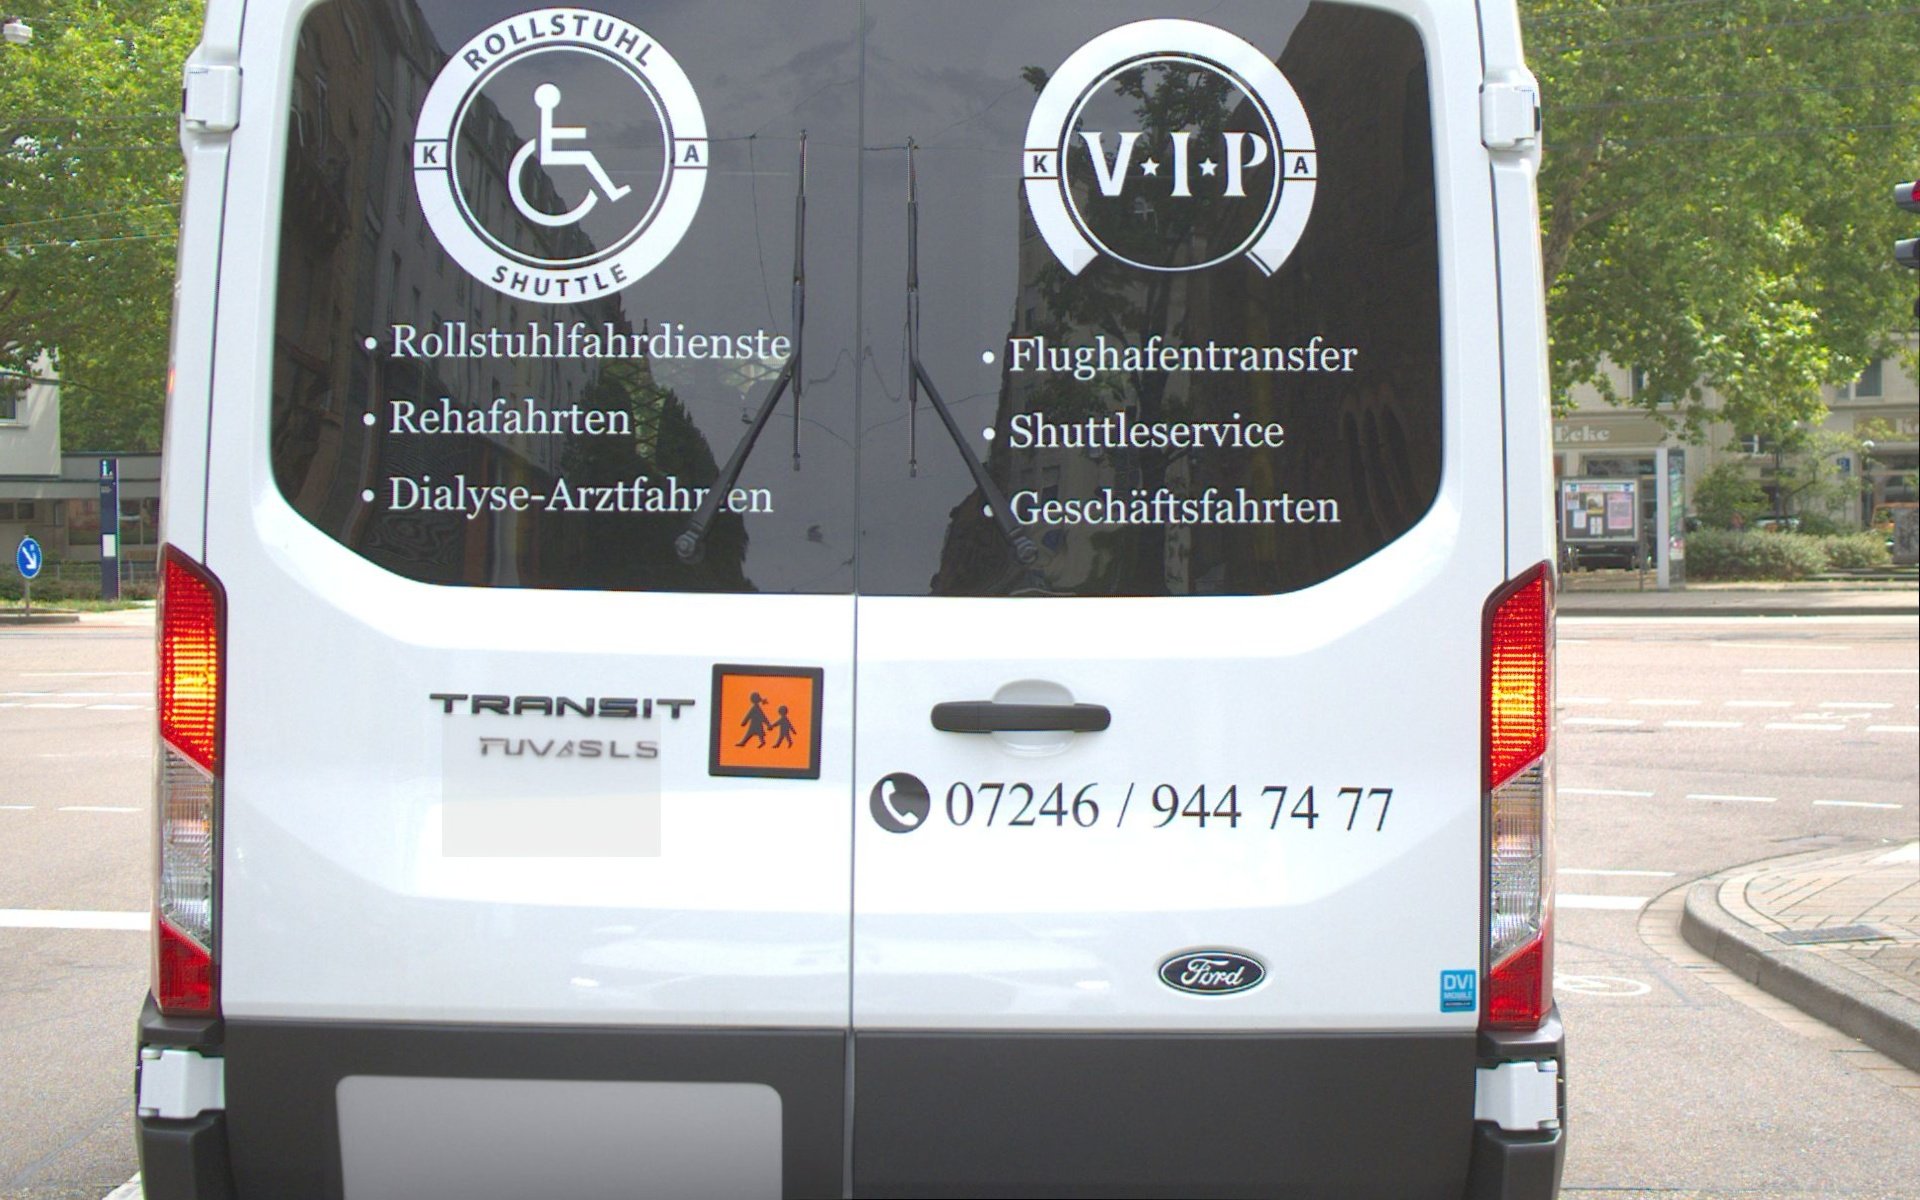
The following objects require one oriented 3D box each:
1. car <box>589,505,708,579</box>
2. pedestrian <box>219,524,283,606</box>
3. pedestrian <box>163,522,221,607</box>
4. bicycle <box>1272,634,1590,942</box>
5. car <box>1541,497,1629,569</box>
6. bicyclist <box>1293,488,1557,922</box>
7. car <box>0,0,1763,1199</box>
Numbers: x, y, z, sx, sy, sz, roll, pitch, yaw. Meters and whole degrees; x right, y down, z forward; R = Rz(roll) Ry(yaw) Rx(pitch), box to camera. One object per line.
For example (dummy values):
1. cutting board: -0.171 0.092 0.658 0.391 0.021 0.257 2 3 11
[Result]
1. car: -6.426 -1.221 71.266 1.621 1.471 3.999 -1 2 7
2. pedestrian: -13.164 -0.655 63.821 0.930 1.509 0.723 0 1 14
3. pedestrian: -14.280 -0.658 63.929 0.807 1.567 0.723 0 1 14
4. bicycle: 1.847 0.710 13.807 0.902 1.071 1.970 -1 1 -3
5. car: 17.360 -1.867 95.661 1.994 1.924 4.000 -1 1 4
6. bicyclist: 1.844 0.399 13.729 0.903 1.677 0.757 -1 1 -3
7. car: -0.191 0.001 6.566 2.181 2.638 4.629 1 2 -2
